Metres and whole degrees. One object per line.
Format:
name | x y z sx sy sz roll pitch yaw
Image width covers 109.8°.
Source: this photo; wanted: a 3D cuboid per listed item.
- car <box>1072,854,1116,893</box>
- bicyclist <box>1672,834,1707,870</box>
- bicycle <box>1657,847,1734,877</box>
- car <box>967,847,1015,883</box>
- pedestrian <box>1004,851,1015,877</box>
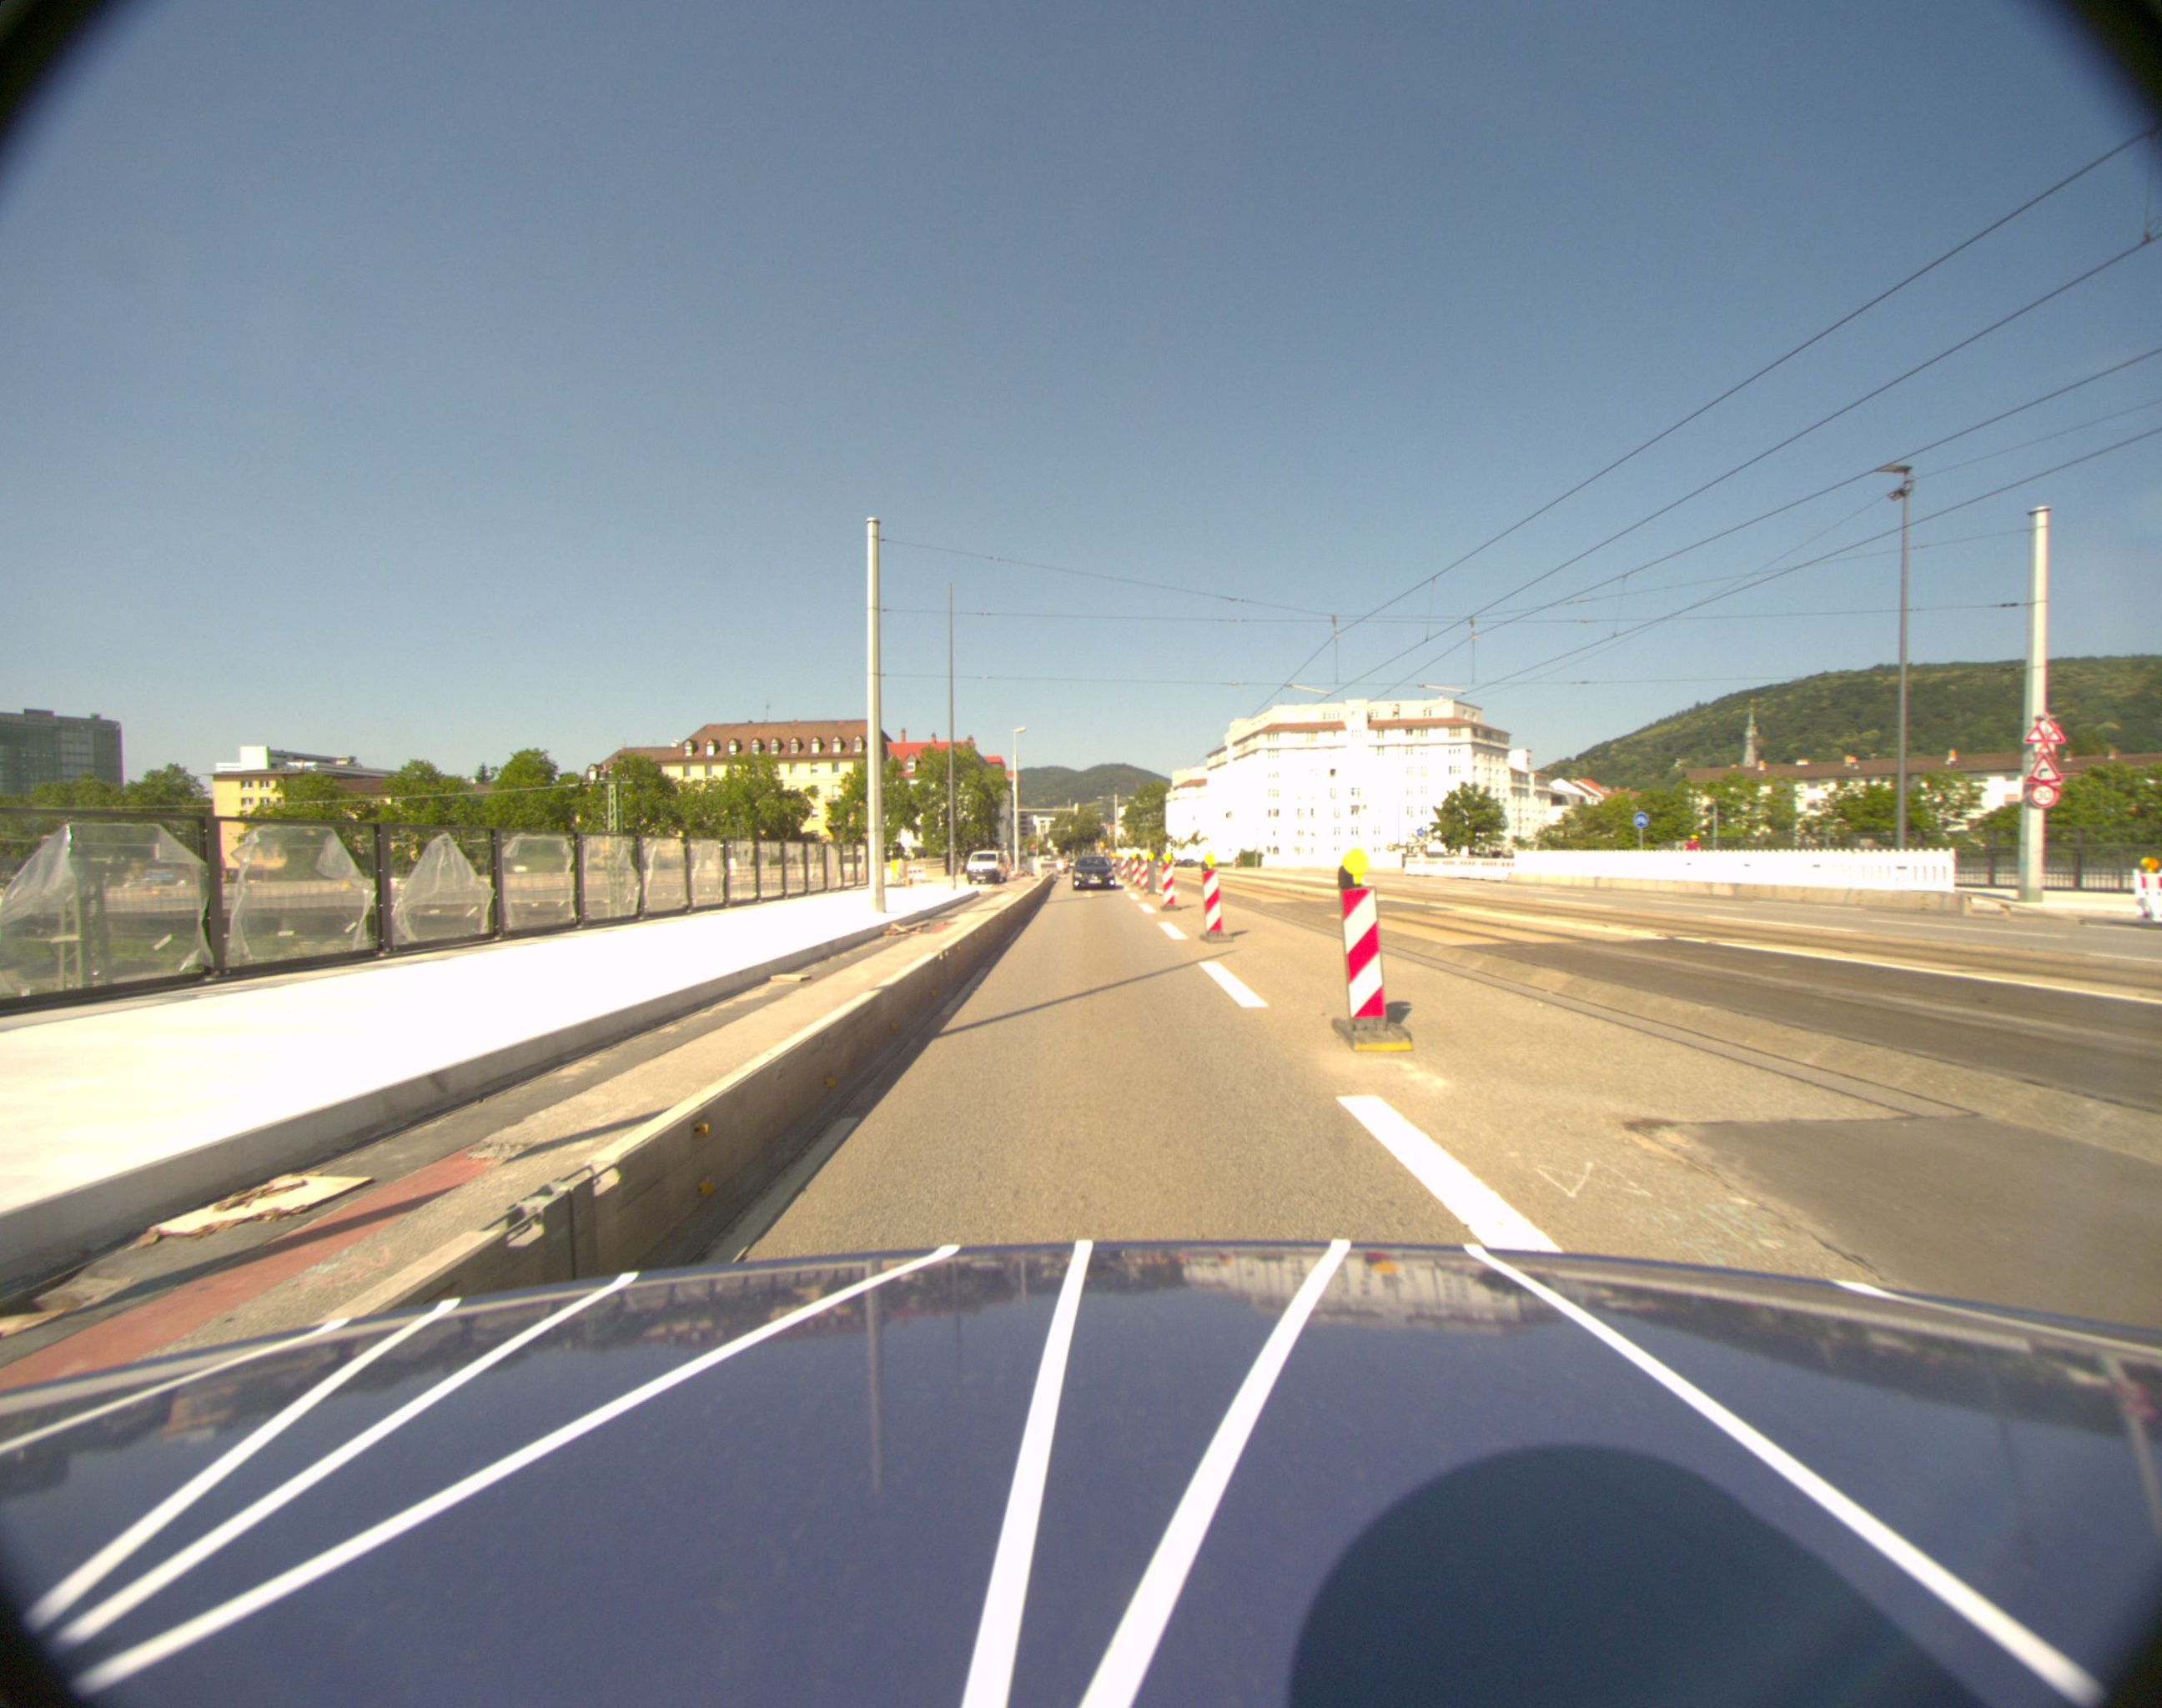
car | 0.528 0.748 32.075 1.698 1.388 4.362 -2 1 1
bicyclist | 26.521 -0.079 33.108 0.858 1.510 0.817 -2 1 0
bicycle | 26.735 0.331 33.141 0.858 1.188 3.071 -2 1 0
car | -5.495 0.660 47.203 1.938 2.078 6.471 -1 0 3
pedestrian | -5.582 0.793 59.536 0.761 1.973 0.843 1 2 0
